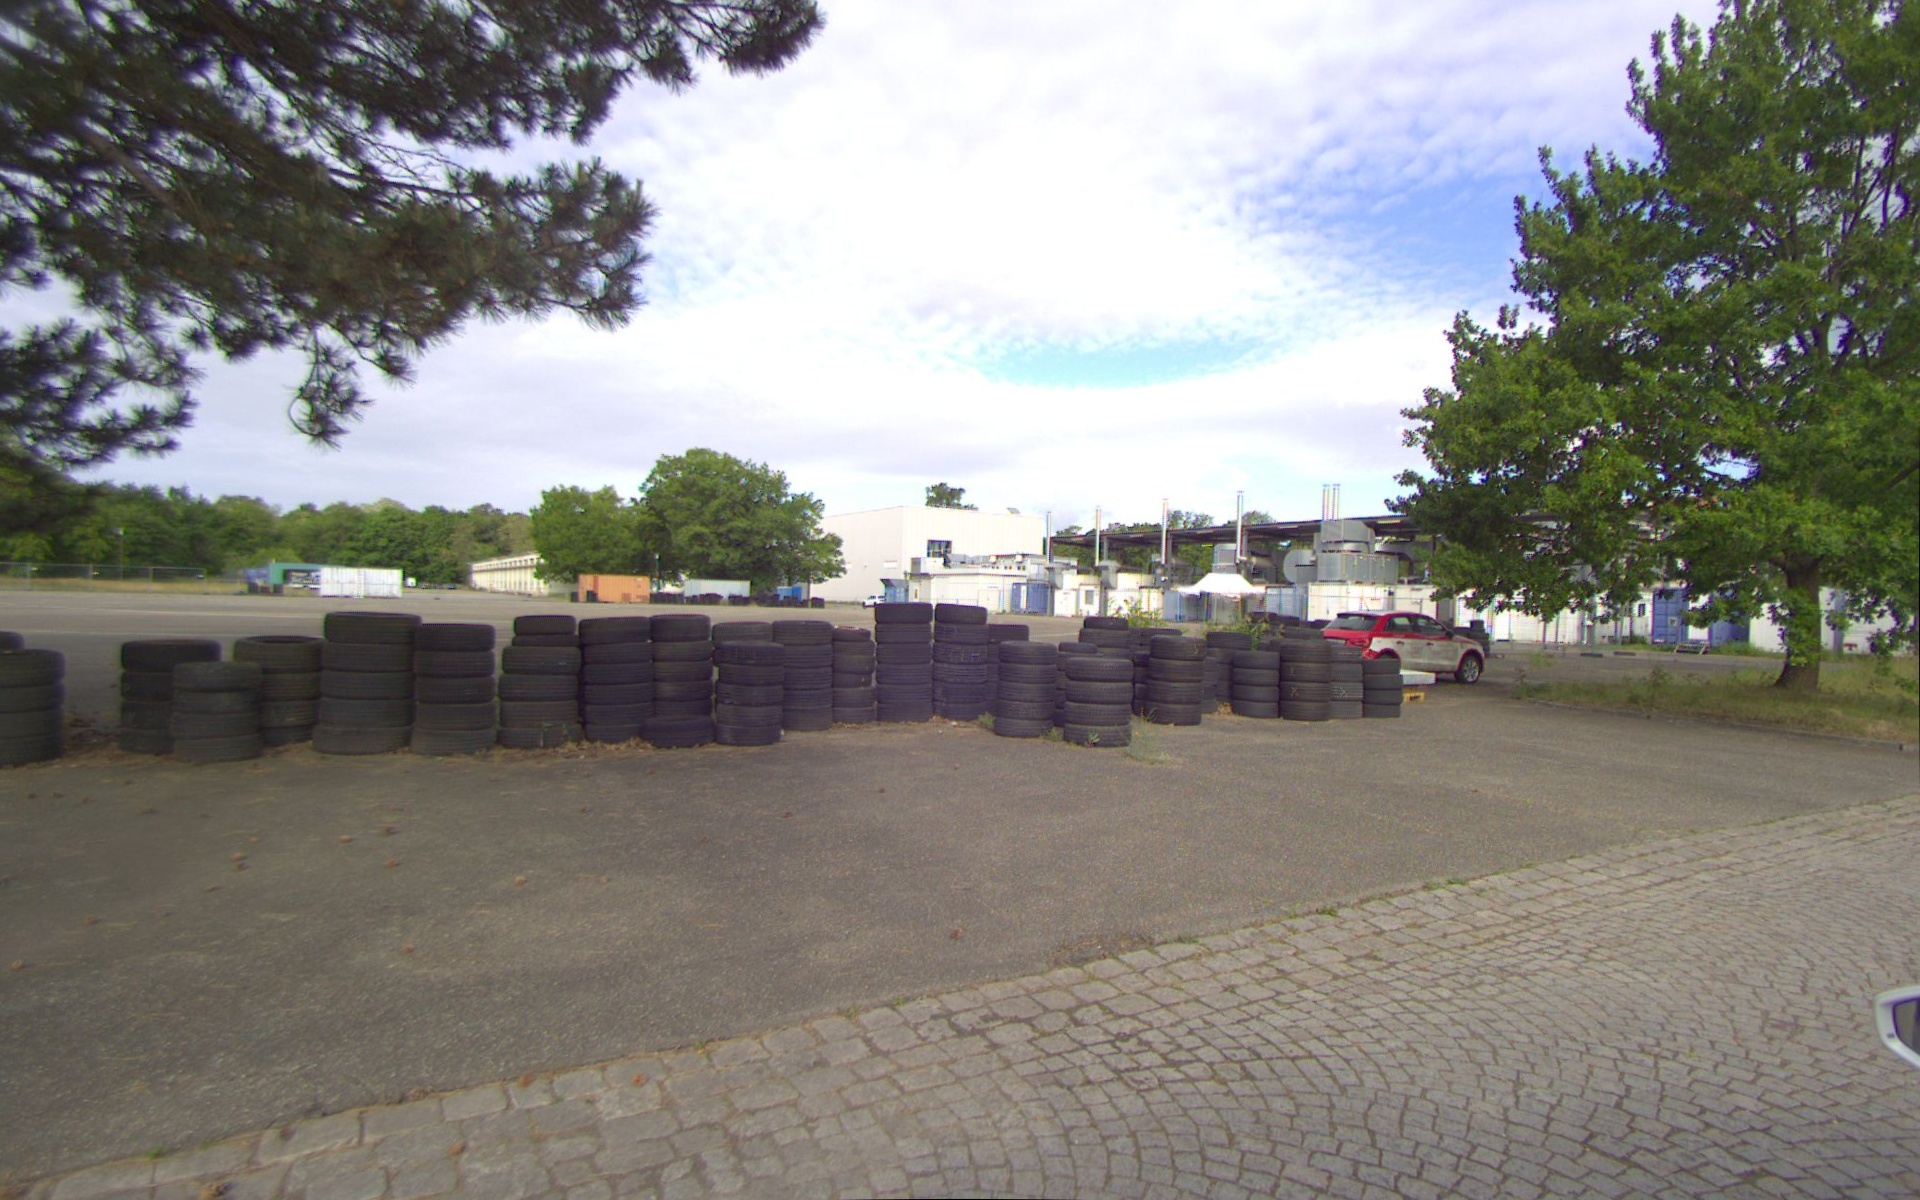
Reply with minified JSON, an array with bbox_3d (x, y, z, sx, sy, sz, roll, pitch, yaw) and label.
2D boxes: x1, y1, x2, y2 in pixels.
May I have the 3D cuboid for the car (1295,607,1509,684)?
[{"bbox_3d":[9.269,0.936,21.046,4.162,1.451,1.818,2,0,-26],"label":"car"}]

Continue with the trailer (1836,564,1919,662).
[{"bbox_3d":[40.973,0.623,42.351,10.591,3.755,2.645,2,0,-29],"label":"trailer"}]
